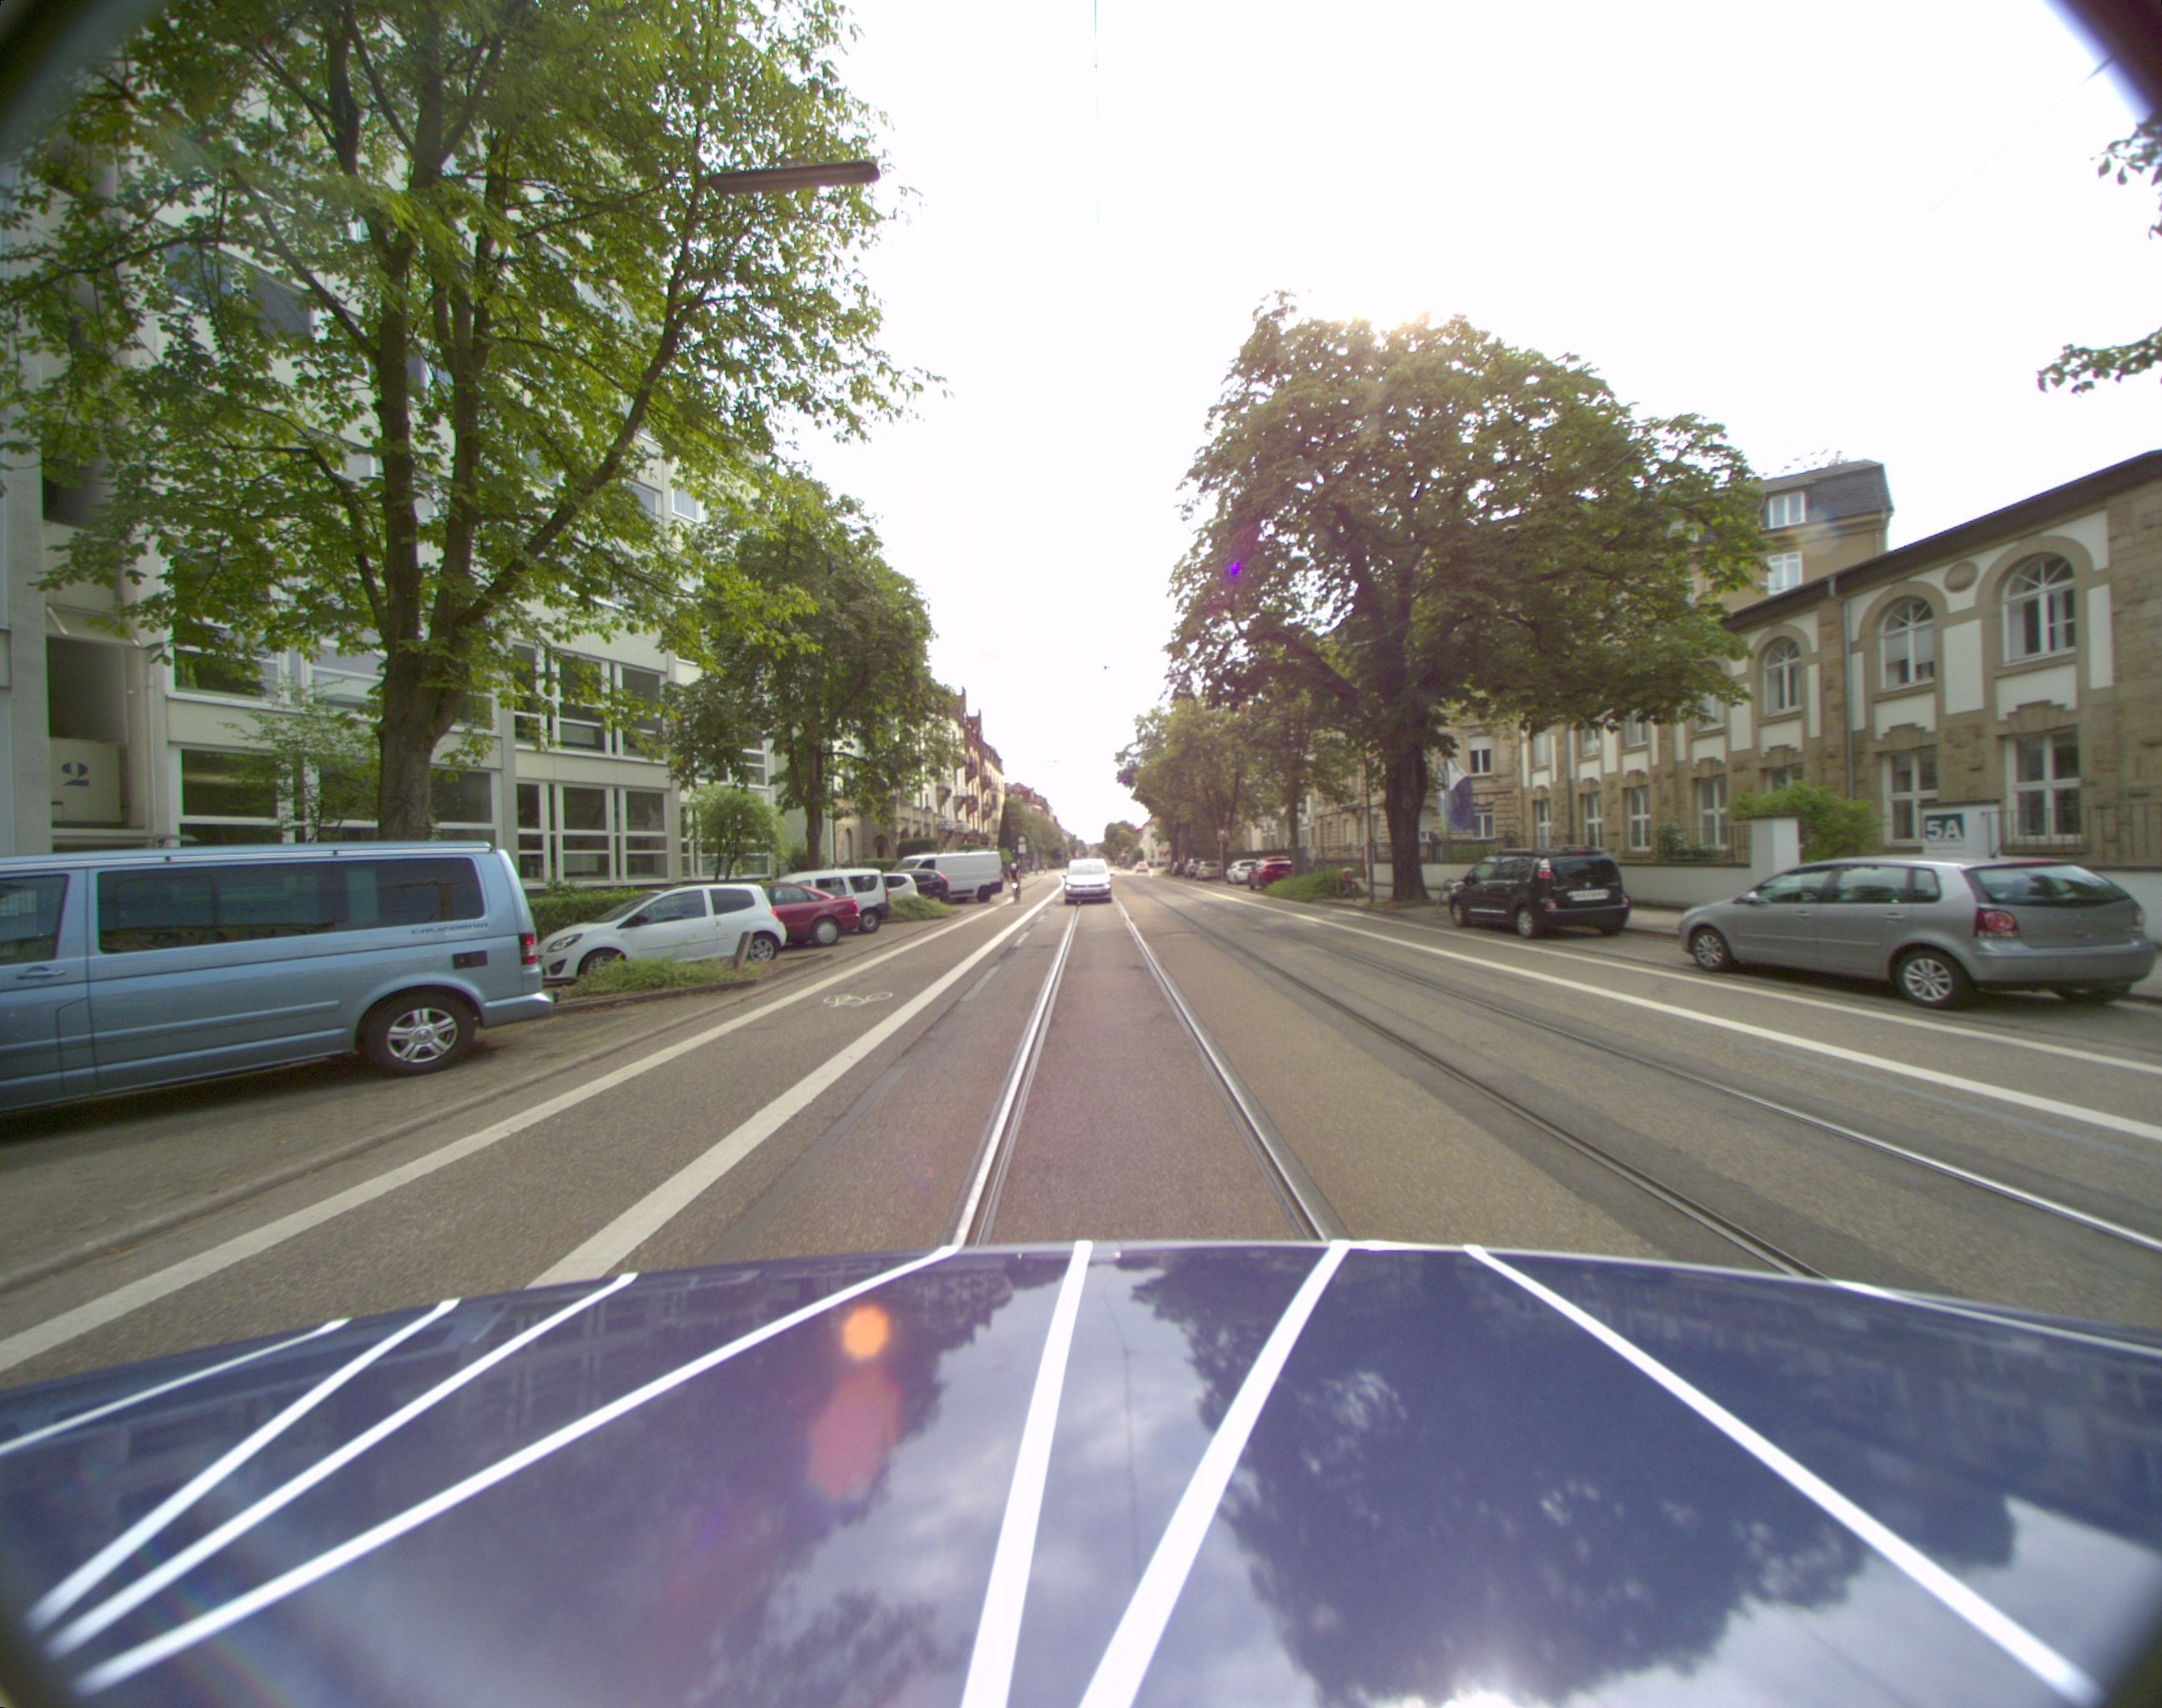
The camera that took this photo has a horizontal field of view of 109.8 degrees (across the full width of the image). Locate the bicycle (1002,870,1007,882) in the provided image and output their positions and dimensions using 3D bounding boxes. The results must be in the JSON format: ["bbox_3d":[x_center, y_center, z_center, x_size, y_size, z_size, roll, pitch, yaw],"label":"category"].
[{"bbox_3d":[-6.036,1.730,59.945,0.278,0.847,1.198,-1,0,1],"label":"bicycle"}]

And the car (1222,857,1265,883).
[{"bbox_3d":[9.911,0.970,46.637,1.725,1.415,4.023,-4,0,0],"label":"car"}]

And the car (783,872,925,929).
[{"bbox_3d":[-7.384,1.465,24.984,4.100,1.502,1.685,-2,0,-44],"label":"car"}]

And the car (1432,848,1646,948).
[{"bbox_3d":[8.840,0.773,15.126,1.760,1.637,4.052,-3,0,0],"label":"car"}]

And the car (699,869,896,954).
[{"bbox_3d":[-6.809,1.302,18.559,4.117,1.658,1.685,-3,0,-44],"label":"car"}]

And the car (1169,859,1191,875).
[{"bbox_3d":[9.958,1.268,76.505,1.724,1.416,4.167,-4,0,3],"label":"car"}]

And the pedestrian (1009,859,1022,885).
[{"bbox_3d":[-4.470,1.230,52.095,0.787,1.722,0.896,0,0,0],"label":"pedestrian"}]

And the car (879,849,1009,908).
[{"bbox_3d":[-5.919,1.015,33.206,4.968,2.277,2.378,-3,0,-42],"label":"car"}]

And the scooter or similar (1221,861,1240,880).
[{"bbox_3d":[9.801,1.080,49.819,0.563,1.215,1.321,-2,0,-23],"label":"scooter or similar"}]

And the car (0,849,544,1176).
[{"bbox_3d":[-7.021,1.050,5.957,4.284,2.003,1.826,-3,0,-44],"label":"car"}]

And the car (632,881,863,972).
[{"bbox_3d":[-6.762,1.374,15.657,3.983,1.424,1.685,-2,0,-41],"label":"car"}]

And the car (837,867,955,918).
[{"bbox_3d":[-6.924,1.405,28.713,3.968,1.639,1.685,-3,0,-44],"label":"car"}]

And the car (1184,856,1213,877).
[{"bbox_3d":[9.919,1.071,64.425,1.714,1.663,4.357,-2,0,1],"label":"car"}]

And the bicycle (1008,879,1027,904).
[{"bbox_3d":[-2.655,1.558,32.007,0.640,0.975,2.071,-1,0,-1],"label":"bicycle"}]

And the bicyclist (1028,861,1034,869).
[{"bbox_3d":[-8.395,1.884,127.325,0.772,1.357,0.616,-2,0,35],"label":"bicyclist"}]

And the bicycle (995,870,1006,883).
[{"bbox_3d":[-5.962,1.666,56.346,0.487,0.902,1.665,-1,0,4],"label":"bicycle"}]

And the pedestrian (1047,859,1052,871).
[{"bbox_3d":[-4.739,1.631,113.791,0.721,1.650,0.759,2,0,-3],"label":"pedestrian"}]

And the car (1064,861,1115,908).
[{"bbox_3d":[0.380,1.144,30.284,1.767,1.660,4.330,-3,0,2],"label":"car"}]

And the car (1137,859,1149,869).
[{"bbox_3d":[8.543,1.378,104.249,1.574,1.407,4.002,0,0,5],"label":"car"}]

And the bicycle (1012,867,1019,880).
[{"bbox_3d":[-5.754,1.698,66.873,0.392,1.096,1.759,0,0,1],"label":"bicycle"}]

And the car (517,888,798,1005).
[{"bbox_3d":[-6.911,1.392,12.631,3.723,1.424,1.685,-2,0,-44],"label":"car"}]

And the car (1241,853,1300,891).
[{"bbox_3d":[9.380,0.867,37.978,1.725,1.645,4.542,-4,0,0],"label":"car"}]

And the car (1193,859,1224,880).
[{"bbox_3d":[9.493,1.127,56.882,1.604,1.459,4.079,-2,0,1],"label":"car"}]

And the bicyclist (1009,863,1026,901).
[{"bbox_3d":[-2.663,1.166,31.988,0.640,1.561,1.110,-1,0,-1],"label":"bicyclist"}]

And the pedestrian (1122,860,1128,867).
[{"bbox_3d":[8.575,1.834,147.908,1.033,1.229,0.723,-3,0,-1],"label":"pedestrian"}]

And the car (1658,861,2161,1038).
[{"bbox_3d":[8.731,0.830,8.417,1.697,1.419,3.868,-3,0,0],"label":"car"}]
